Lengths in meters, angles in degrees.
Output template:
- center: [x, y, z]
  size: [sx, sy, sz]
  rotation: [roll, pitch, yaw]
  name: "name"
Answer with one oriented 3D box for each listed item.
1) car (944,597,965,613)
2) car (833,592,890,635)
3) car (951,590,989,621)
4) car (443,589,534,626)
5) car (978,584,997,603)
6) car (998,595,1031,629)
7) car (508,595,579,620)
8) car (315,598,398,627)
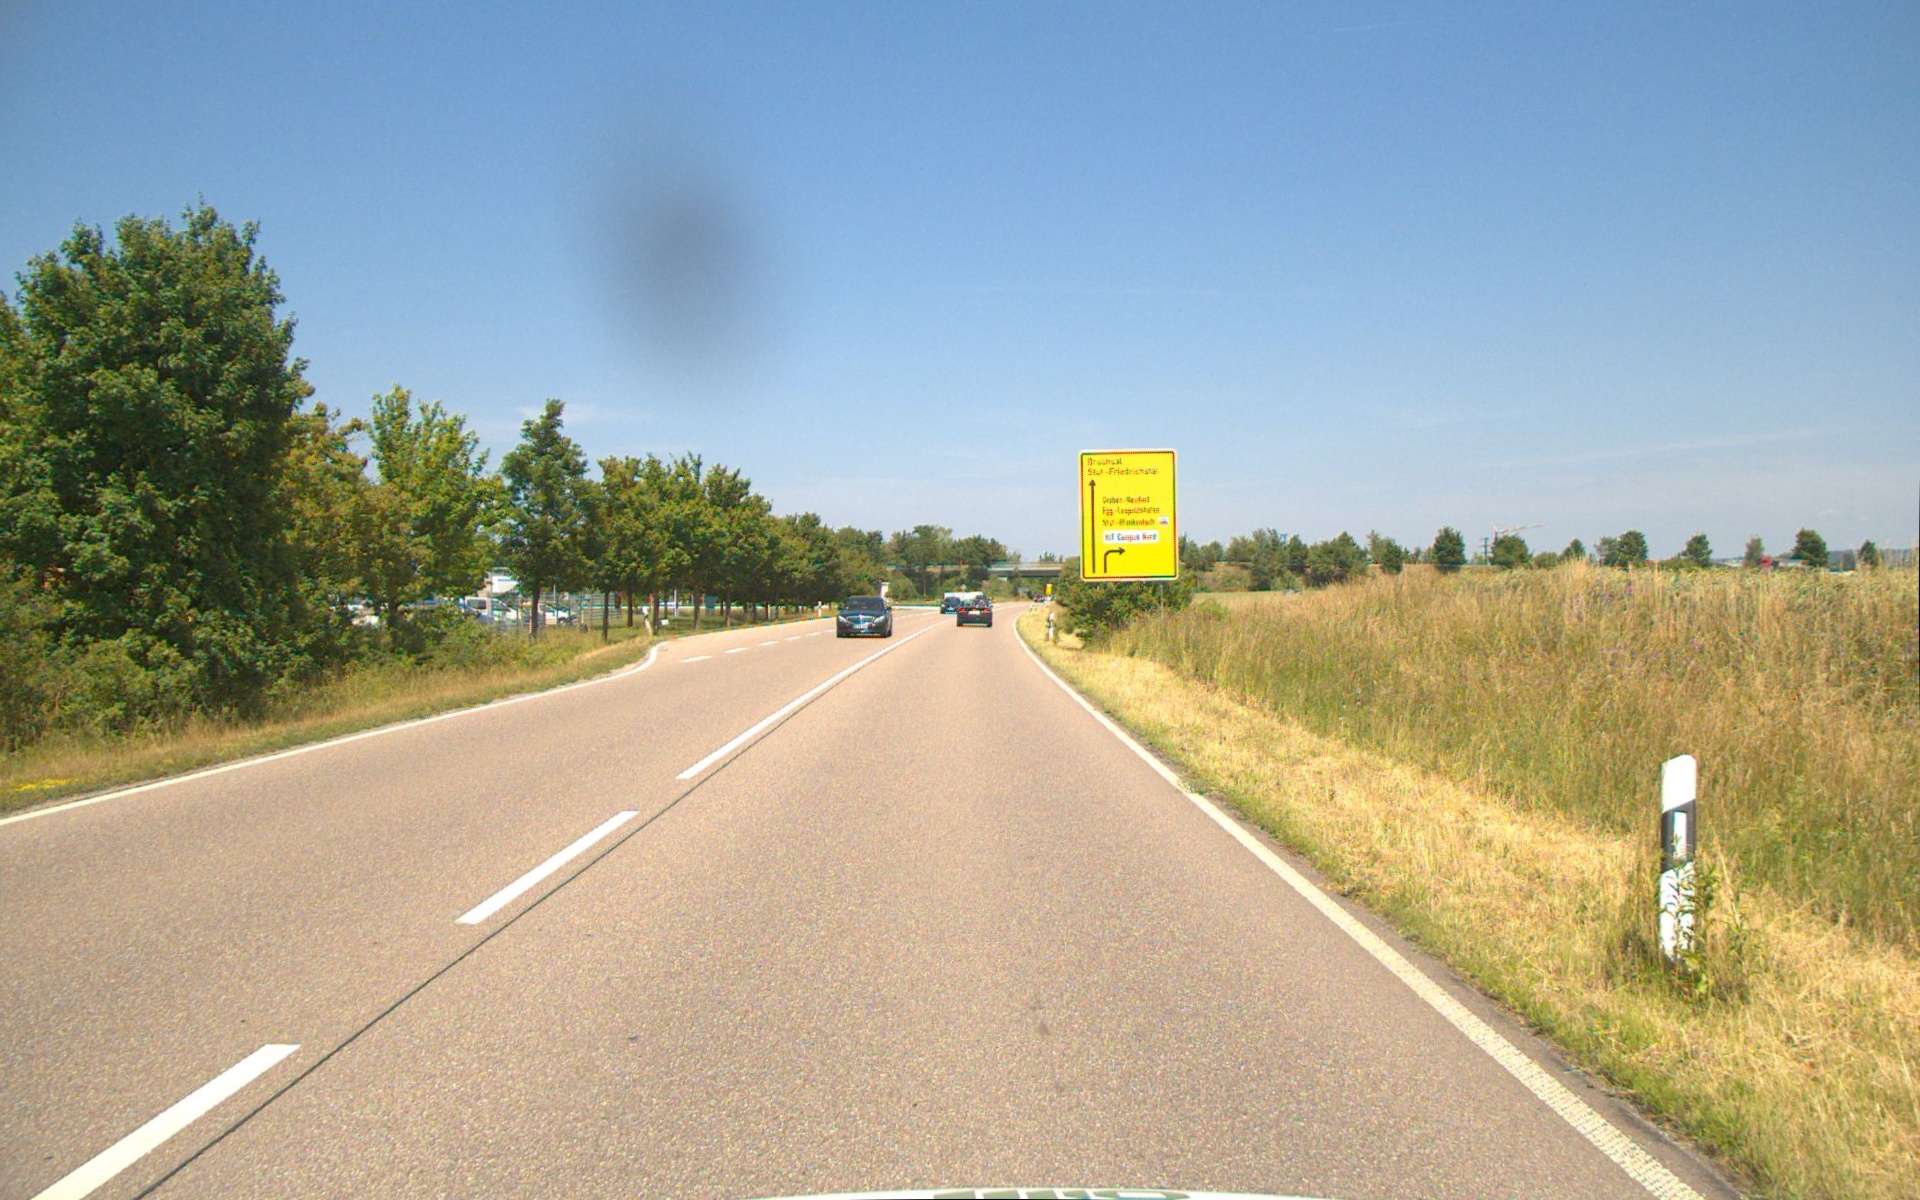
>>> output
- center: [-0.450, 0.390, 131.332]
  size: [1.602, 1.291, 3.811]
  rotation: [0, 0, 0]
  name: "car"
- center: [-3.479, 0.454, 59.330]
  size: [1.745, 1.445, 4.534]
  rotation: [1, 0, 0]
  name: "car"
- center: [0.469, 0.283, 81.259]
  size: [1.777, 1.466, 3.999]
  rotation: [1, 0, -1]
  name: "car"
- center: [-26.310, 0.416, 92.388]
  size: [4.602, 1.988, 1.808]
  rotation: [0, 0, -31]
  name: "car"
- center: [3.094, -0.743, 185.578]
  size: [1.952, 2.049, 4.000]
  rotation: [1, -1, 2]
  name: "car"
- center: [3.362, 0.748, 102.199]
  size: [1.712, 2.049, 3.998]
  rotation: [1, -1, -3]
  name: "car"
- center: [-25.529, 0.437, 101.455]
  size: [3.952, 1.505, 1.651]
  rotation: [0, 0, -38]
  name: "car"
- center: [-30.574, 0.615, 83.818]
  size: [3.612, 1.433, 1.641]
  rotation: [0, 0, -2]
  name: "car"
